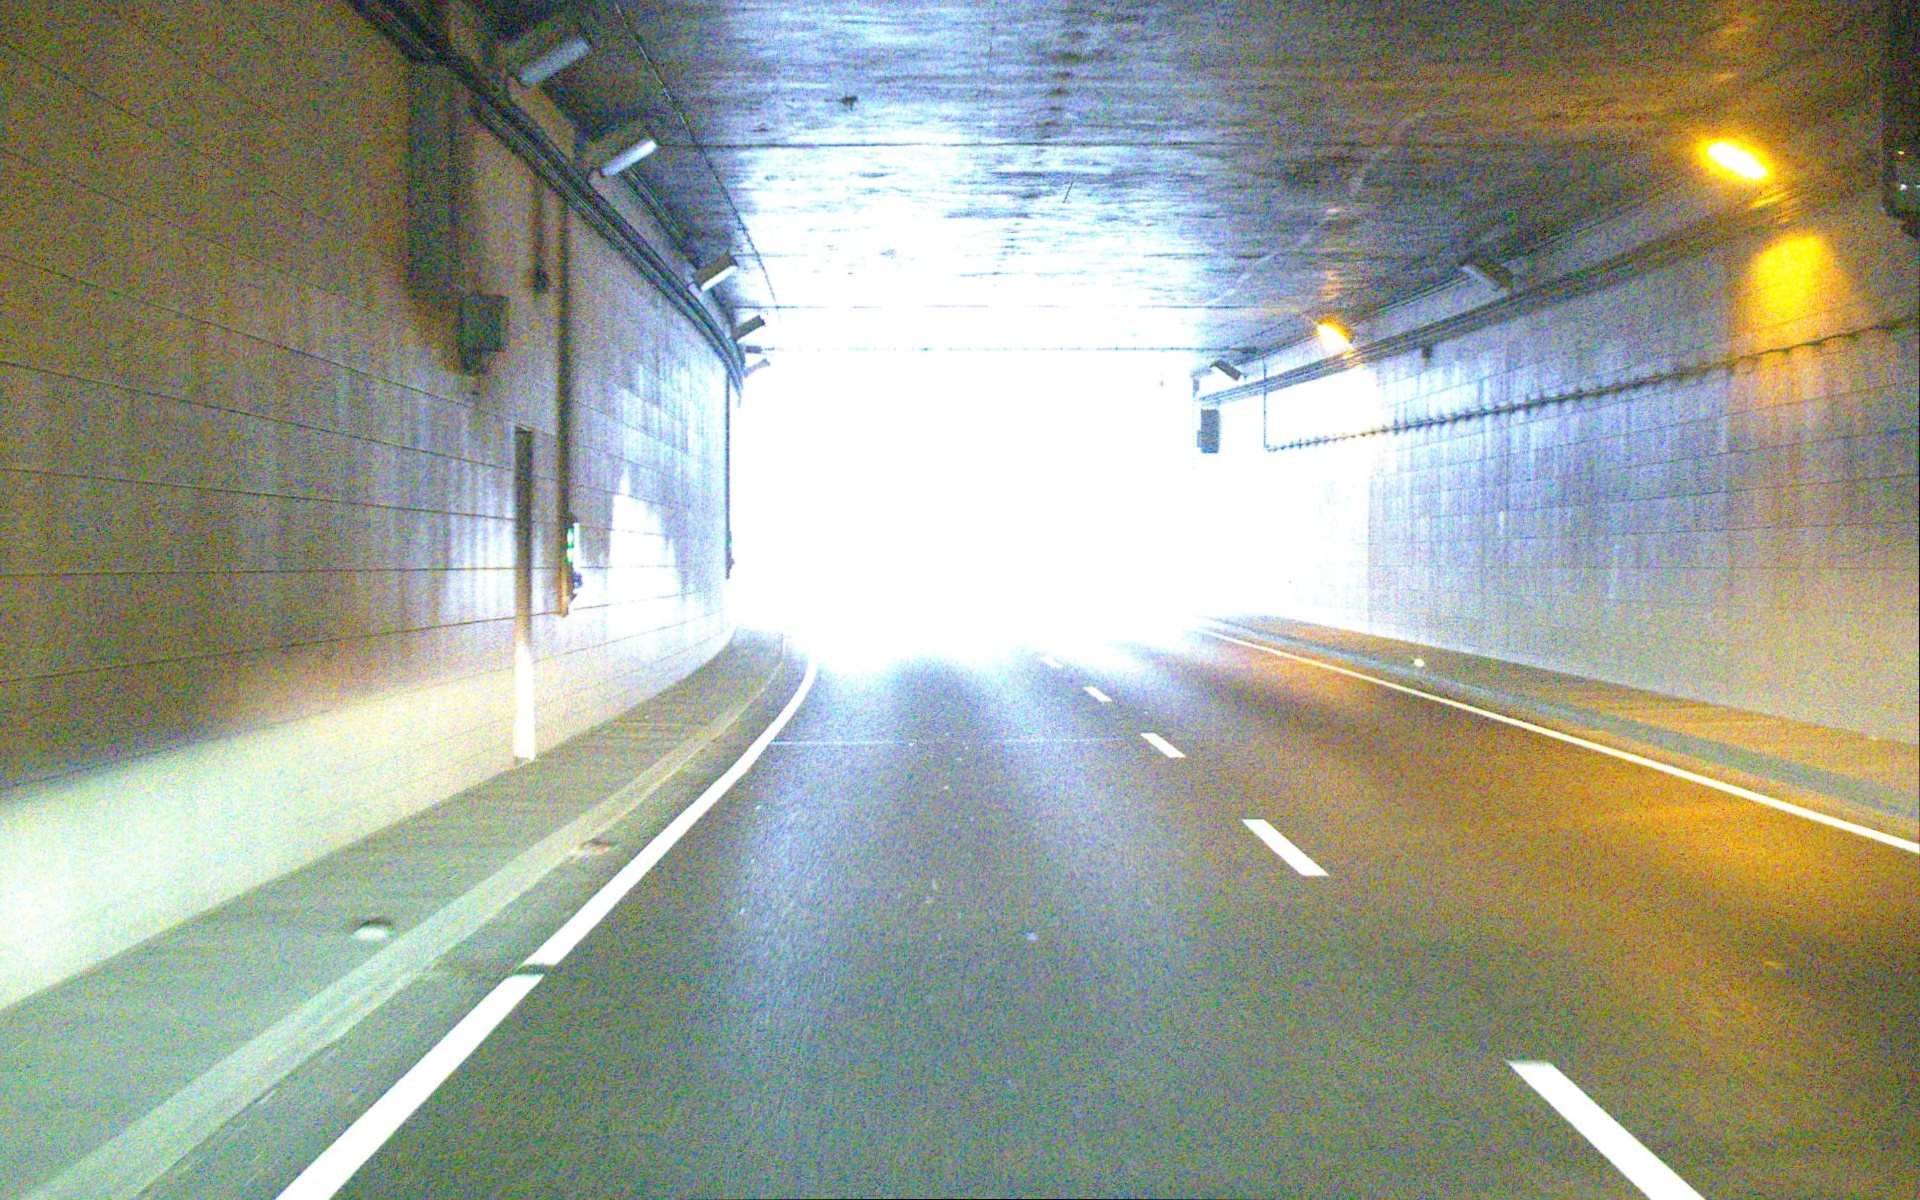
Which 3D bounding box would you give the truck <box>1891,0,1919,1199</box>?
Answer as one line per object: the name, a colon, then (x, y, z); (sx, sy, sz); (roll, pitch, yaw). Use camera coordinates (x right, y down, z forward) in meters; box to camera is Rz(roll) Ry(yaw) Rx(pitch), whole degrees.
truck: (3.359, -0.509, 2.112); (2.889, 3.900, 9.909); (0, 1, 0)
